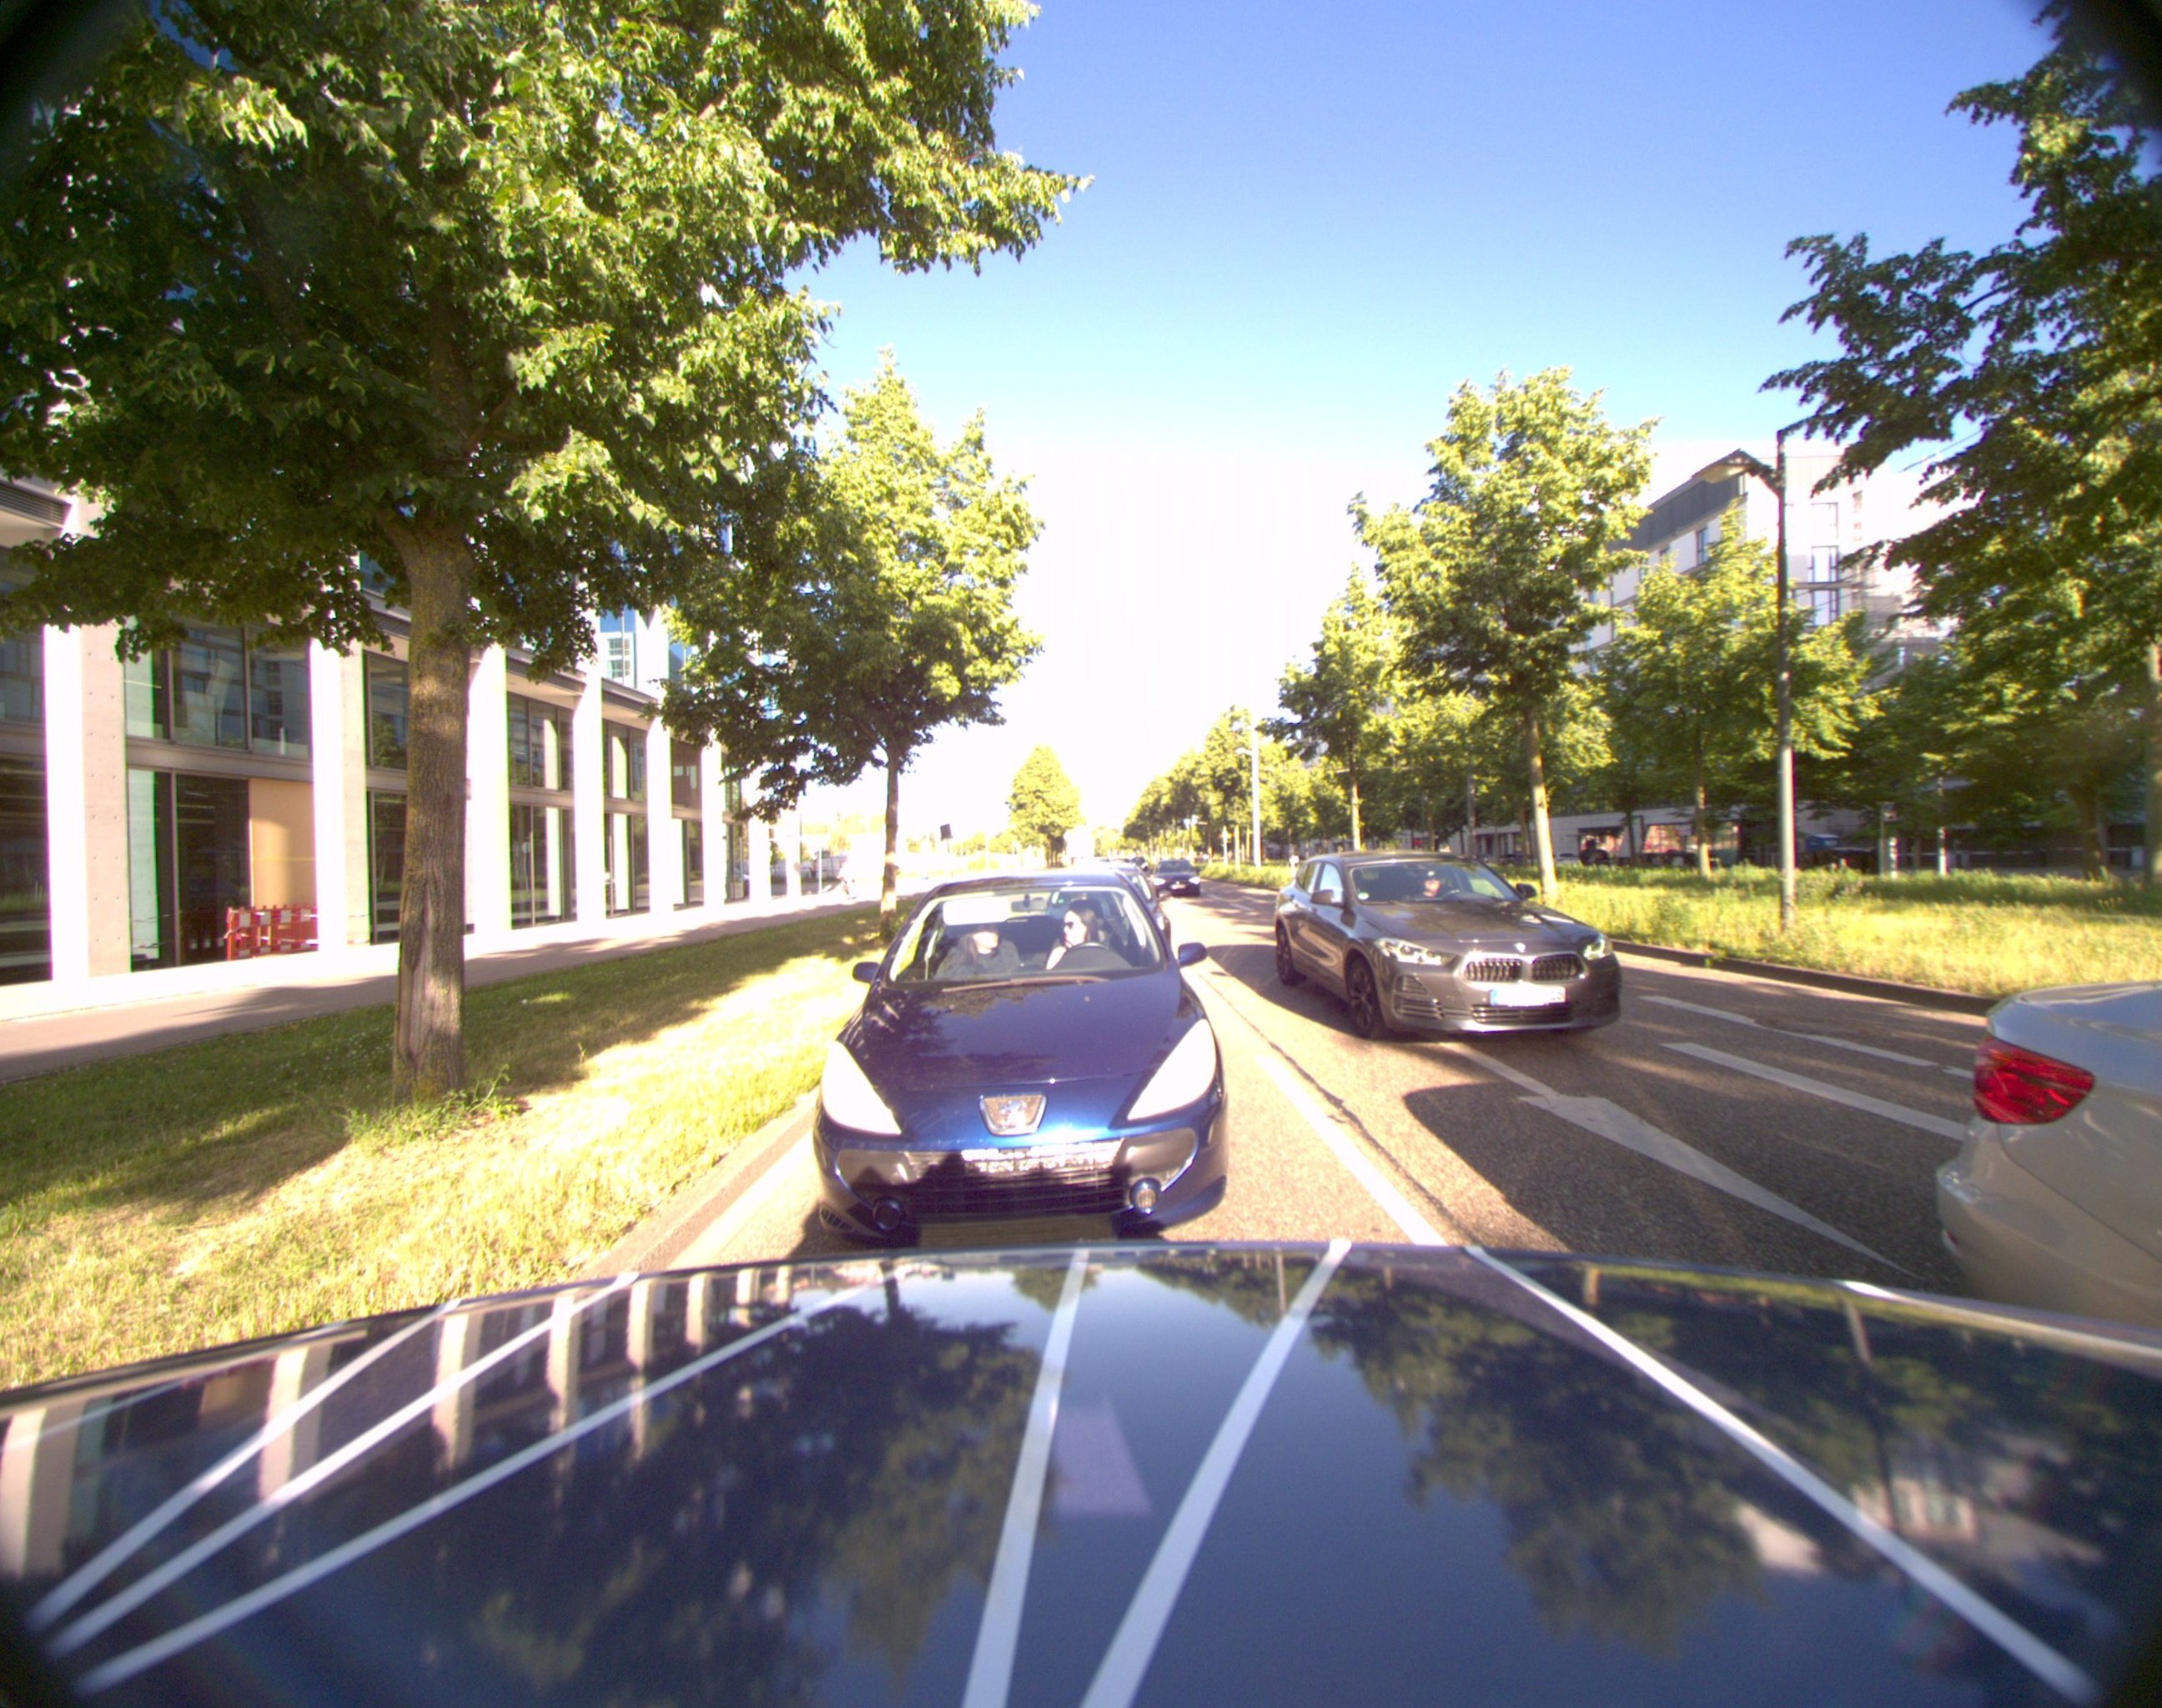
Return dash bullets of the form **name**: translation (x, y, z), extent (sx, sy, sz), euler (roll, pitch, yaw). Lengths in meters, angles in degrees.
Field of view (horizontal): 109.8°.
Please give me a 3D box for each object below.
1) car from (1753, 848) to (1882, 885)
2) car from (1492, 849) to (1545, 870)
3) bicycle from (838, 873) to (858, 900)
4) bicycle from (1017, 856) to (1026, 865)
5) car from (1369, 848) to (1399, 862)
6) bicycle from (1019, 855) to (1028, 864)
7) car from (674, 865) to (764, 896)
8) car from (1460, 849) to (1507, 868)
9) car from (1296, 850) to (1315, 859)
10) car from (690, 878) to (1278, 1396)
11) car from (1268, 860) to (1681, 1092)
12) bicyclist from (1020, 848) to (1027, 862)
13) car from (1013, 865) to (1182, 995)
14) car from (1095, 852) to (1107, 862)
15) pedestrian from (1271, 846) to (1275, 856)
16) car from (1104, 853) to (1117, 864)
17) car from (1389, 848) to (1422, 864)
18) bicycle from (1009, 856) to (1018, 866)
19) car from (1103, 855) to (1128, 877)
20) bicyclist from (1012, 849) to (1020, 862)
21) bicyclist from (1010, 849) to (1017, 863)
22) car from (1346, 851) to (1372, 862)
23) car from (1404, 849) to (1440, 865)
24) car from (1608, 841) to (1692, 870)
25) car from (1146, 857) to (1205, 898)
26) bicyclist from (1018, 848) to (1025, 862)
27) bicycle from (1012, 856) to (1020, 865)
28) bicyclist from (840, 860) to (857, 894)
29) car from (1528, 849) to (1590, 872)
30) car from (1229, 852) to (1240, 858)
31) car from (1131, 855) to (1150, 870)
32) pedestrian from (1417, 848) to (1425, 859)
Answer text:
- **car**: translation (34.088, 0.546, 35.357), extent (1.951, 1.588, 4.184), euler (-1, 0, 1)
- **car**: translation (35.191, 0.418, 61.236), extent (1.884, 1.588, 4.184), euler (-1, 0, 1)
- **bicycle**: translation (-10.564, 1.475, 34.501), extent (0.591, 1.149, 1.926), euler (1, 0, -8)
- **bicycle**: translation (-8.880, 0.936, 113.161), extent (0.931, 1.355, 4.000), euler (-1, 0, 1)
- **car**: translation (35.503, 0.153, 89.030), extent (1.884, 1.588, 4.184), euler (-1, 0, 1)
- **bicycle**: translation (-8.850, 0.897, 117.315), extent (0.931, 1.355, 4.000), euler (-1, 0, 1)
- **car**: translation (-20.039, 1.431, 42.154), extent (3.996, 1.569, 2.000), euler (-1, 0, 3)
- **car**: translation (35.157, 0.373, 66.519), extent (1.884, 1.588, 4.184), euler (-1, 0, 1)
- **car**: translation (36.611, 0.027, 124.158), extent (1.998, 1.387, 4.000), euler (-1, 0, 1)
- **car**: translation (-0.283, 0.983, 4.679), extent (1.846, 1.473, 4.481), euler (-2, 0, 1)
- **car**: translation (3.126, 0.841, 7.091), extent (1.861, 1.482, 4.000), euler (-1, 0, 2)
- **bicyclist**: translation (-8.852, 0.130, 117.226), extent (0.931, 2.045, 1.121), euler (-1, 1, 1)
- **car**: translation (0.224, 0.953, 11.461), extent (1.998, 1.437, 4.622), euler (-1, 0, 1)
- **car**: translation (3.518, 0.501, 134.055), extent (1.879, 1.561, 4.344), euler (-1, 0, 1)
- **pedestrian**: translation (38.086, -0.549, 150.930), extent (0.585, 2.002, 0.619), euler (-1, 1, 1)
- **car**: translation (4.264, 0.655, 110.375), extent (1.878, 1.561, 4.344), euler (-1, 0, 2)
- **car**: translation (35.445, 0.209, 83.109), extent (1.884, 1.588, 4.184), euler (-1, 0, 1)
- **bicycle**: translation (-10.060, 1.013, 112.853), extent (0.931, 1.355, 4.000), euler (-1, 0, 1)
- **car**: translation (2.507, 0.883, 56.436), extent (1.724, 1.516, 4.000), euler (-1, 0, 1)
- **bicyclist**: translation (-10.001, 0.205, 116.967), extent (0.931, 2.045, 1.121), euler (-1, 1, 1)
- **bicyclist**: translation (-10.069, 0.245, 112.863), extent (0.931, 2.045, 1.121), euler (-1, 1, 1)
- **car**: translation (35.391, 0.333, 96.901), extent (1.998, 1.387, 4.001), euler (-1, 0, 4)
- **car**: translation (35.033, 0.278, 78.201), extent (1.884, 1.588, 4.184), euler (-1, 0, 1)
- **car**: translation (33.874, 0.065, 45.393), extent (1.951, 1.588, 4.184), euler (-1, 0, 1)
- **car**: translation (3.596, 0.873, 29.656), extent (1.878, 1.415, 4.344), euler (-1, 0, 2)
- **bicyclist**: translation (-8.901, 0.170, 113.065), extent (0.931, 2.045, 1.121), euler (-1, 1, 1)
- **bicycle**: translation (-10.001, 0.970, 117.239), extent (0.931, 1.355, 4.000), euler (-1, 0, 1)
- **bicyclist**: translation (-10.556, 1.031, 34.495), extent (0.591, 1.530, 0.699), euler (1, 0, -8)
- **car**: translation (34.904, 0.485, 55.635), extent (1.884, 1.588, 4.184), euler (-1, 0, 1)
- **car**: translation (36.115, 0.193, 179.237), extent (1.998, 1.387, 4.001), euler (-1, 0, 4)
- **car**: translation (6.563, 0.948, 83.832), extent (1.878, 1.577, 4.344), euler (-1, 0, 2)
- **pedestrian**: translation (41.766, -0.053, 93.348), extent (0.604, 1.331, 0.660), euler (-1, 1, 1)
